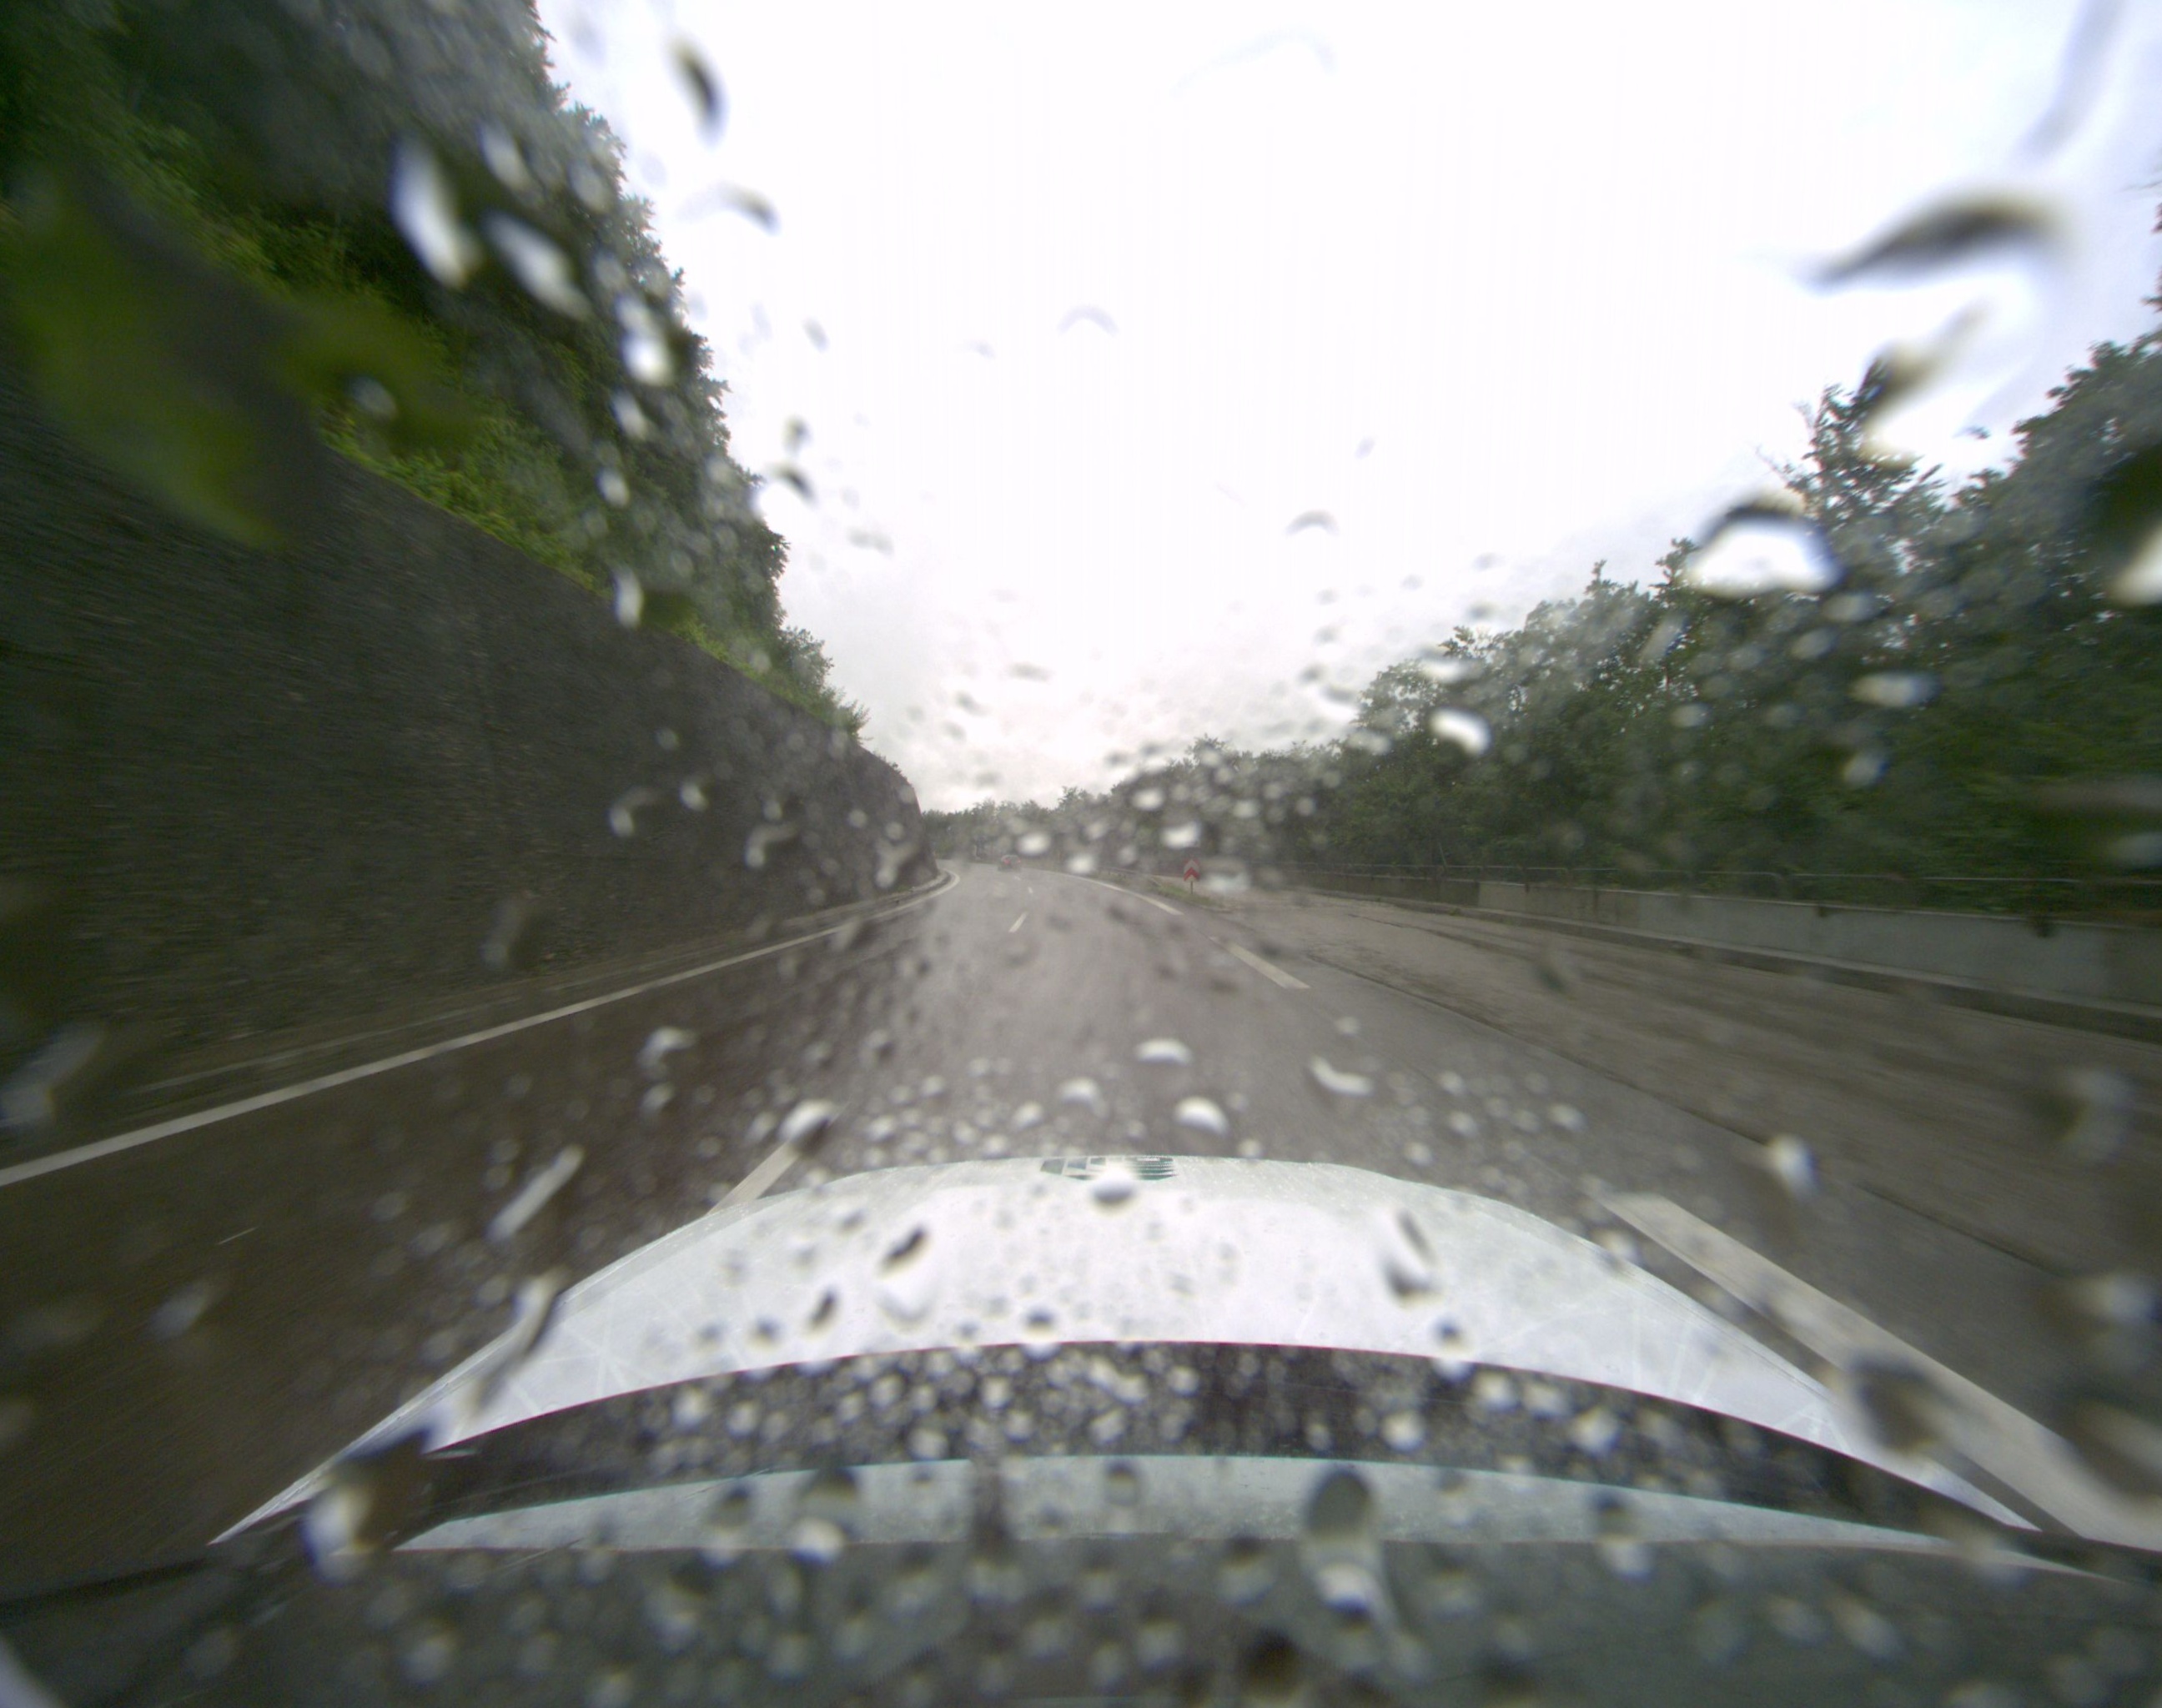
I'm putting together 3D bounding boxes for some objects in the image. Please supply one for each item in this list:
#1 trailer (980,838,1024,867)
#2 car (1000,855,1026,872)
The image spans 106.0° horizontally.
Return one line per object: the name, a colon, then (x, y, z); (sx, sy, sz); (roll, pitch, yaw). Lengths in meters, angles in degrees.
trailer: (-12.186, -0.229, 124.102); (2.903, 4.245, 14.593); (1, 0, -21)
car: (-6.414, 0.882, 76.328); (1.905, 1.499, 3.984); (2, 0, -11)
